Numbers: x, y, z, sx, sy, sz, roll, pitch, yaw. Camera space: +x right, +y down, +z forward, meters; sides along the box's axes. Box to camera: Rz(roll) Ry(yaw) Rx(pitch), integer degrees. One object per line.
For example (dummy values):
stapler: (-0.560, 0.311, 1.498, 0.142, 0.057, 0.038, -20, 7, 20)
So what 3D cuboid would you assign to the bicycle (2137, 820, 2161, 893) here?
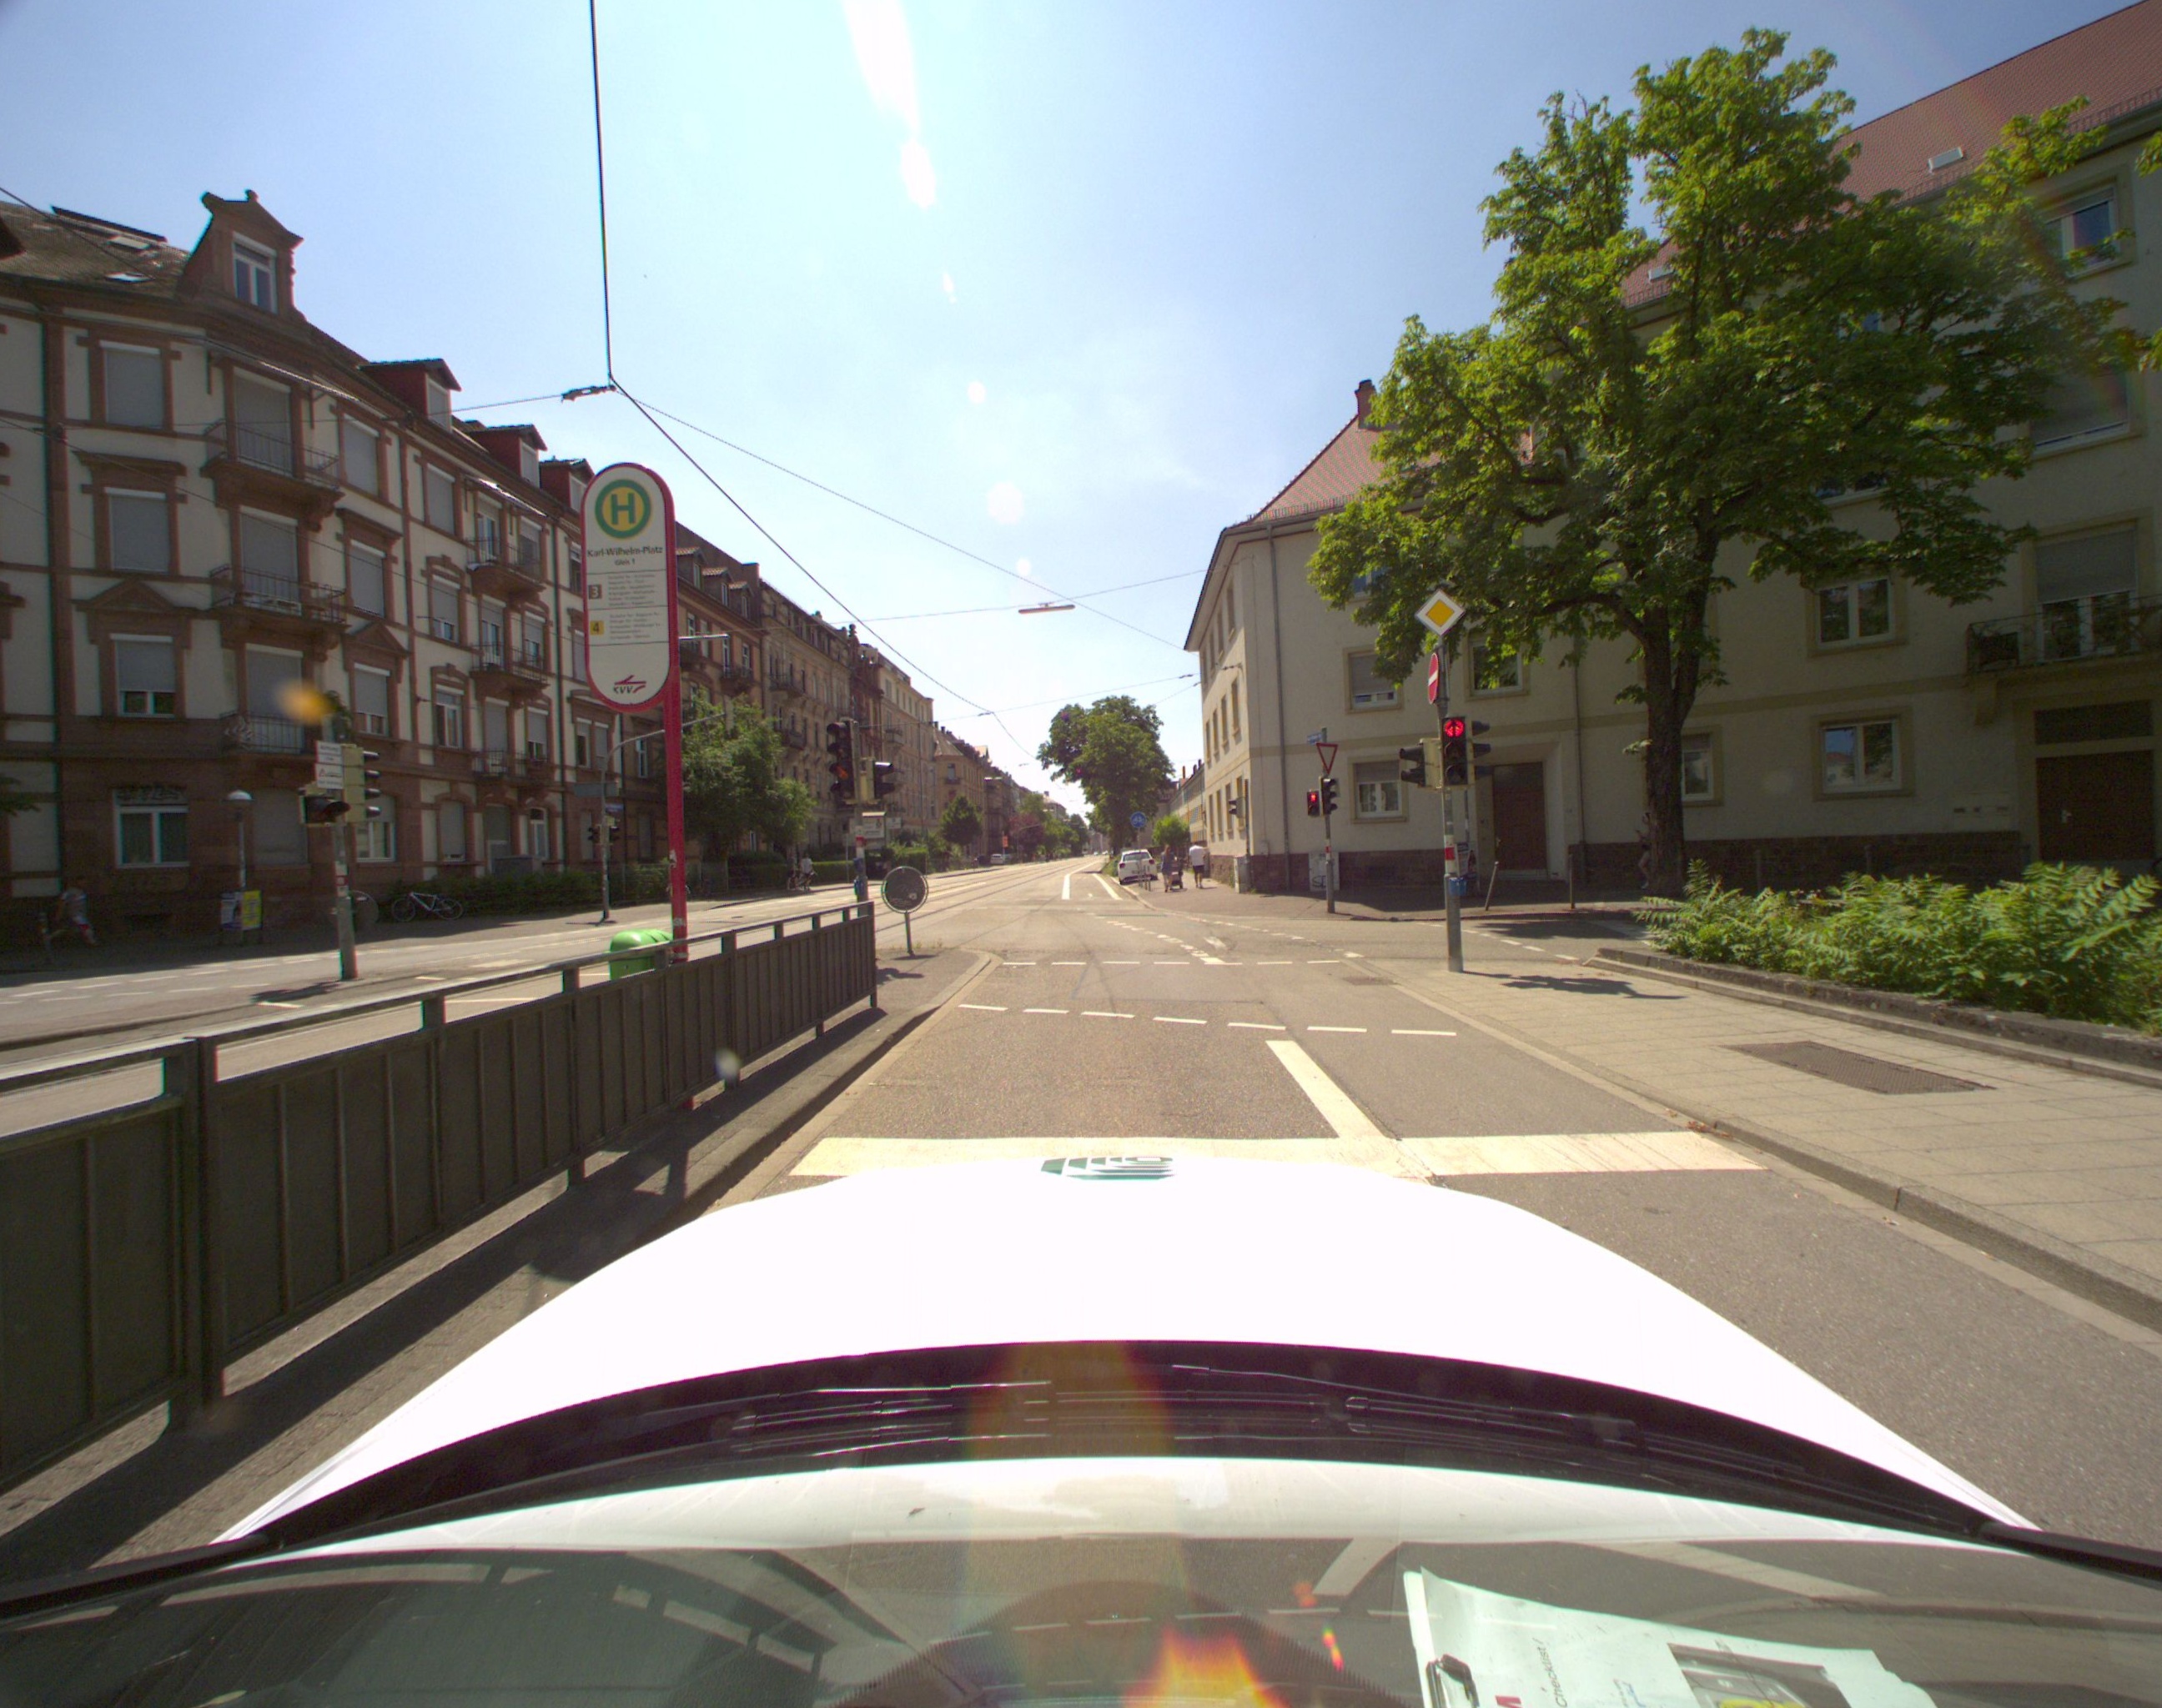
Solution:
bicycle: (17.012, 0.024, 12.084, 0.527, 1.104, 1.589, -2, 0, -34)

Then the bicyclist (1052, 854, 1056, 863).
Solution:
bicyclist: (-5.349, 0.966, 163.114, 0.724, 1.818, 1.080, 0, -1, 3)

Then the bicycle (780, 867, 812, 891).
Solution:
bicycle: (-14.389, 1.260, 41.258, 0.936, 1.136, 2.767, 0, -1, -7)

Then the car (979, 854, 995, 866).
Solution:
car: (-14.324, 0.904, 124.469, 1.912, 1.715, 4.001, 0, -1, 2)

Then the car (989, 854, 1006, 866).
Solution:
car: (-11.872, 0.818, 116.067, 1.912, 1.715, 4.001, 0, -1, 2)

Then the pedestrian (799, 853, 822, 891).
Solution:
pedestrian: (-13.159, 0.863, 39.624, 0.813, 1.822, 0.874, 0, 1, 1)

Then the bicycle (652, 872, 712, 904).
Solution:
bicycle: (-15.666, 1.305, 32.084, 0.934, 1.136, 2.774, 0, -1, 1)

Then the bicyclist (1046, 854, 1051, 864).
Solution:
bicyclist: (-5.654, 0.836, 141.651, 0.724, 1.768, 1.080, 0, -1, 3)

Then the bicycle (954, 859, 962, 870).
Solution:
bicycle: (-12.148, 1.036, 80.501, 0.677, 1.064, 1.912, -2, 0, -9)

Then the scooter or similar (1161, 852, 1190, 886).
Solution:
scooter or similar: (3.334, 0.518, 28.787, 0.551, 1.155, 1.213, -1, -1, 31)

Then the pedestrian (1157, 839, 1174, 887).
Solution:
pedestrian: (2.900, 0.306, 27.938, 0.554, 1.645, 0.678, 0, -1, 7)

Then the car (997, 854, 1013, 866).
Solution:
car: (-11.651, 0.883, 124.331, 1.912, 1.715, 4.001, 0, -1, 2)

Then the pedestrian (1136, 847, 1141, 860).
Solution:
pedestrian: (6.981, -0.041, 99.507, 0.519, 1.562, 0.573, -2, 0, 1)

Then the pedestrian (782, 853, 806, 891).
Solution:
pedestrian: (-13.930, 0.875, 39.568, 0.813, 1.822, 0.874, 0, 1, 1)

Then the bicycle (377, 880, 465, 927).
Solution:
bicycle: (-19.552, 1.443, 24.162, 0.557, 1.294, 1.975, -1, -1, 43)

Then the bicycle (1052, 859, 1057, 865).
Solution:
bicycle: (-5.361, 1.635, 163.058, 0.724, 1.123, 2.087, 0, -1, 4)

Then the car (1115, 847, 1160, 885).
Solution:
car: (2.529, 0.535, 37.412, 1.808, 1.516, 4.001, -4, -1, 2)

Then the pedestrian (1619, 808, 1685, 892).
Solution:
pedestrian: (12.464, -0.091, 17.796, 1.043, 1.690, 0.658, -5, 3, 35)

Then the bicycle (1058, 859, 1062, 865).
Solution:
bicycle: (-4.193, 1.595, 163.088, 0.724, 1.123, 2.087, 0, -1, 4)

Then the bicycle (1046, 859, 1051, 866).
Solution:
bicycle: (-5.641, 1.461, 141.707, 0.724, 1.123, 2.087, 0, -1, 4)

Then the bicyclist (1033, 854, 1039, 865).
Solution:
bicyclist: (-6.852, 0.832, 124.722, 0.724, 1.629, 1.080, 0, -1, 3)

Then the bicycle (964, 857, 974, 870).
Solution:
bicycle: (-11.703, 0.963, 85.138, 0.675, 1.278, 1.918, -2, 0, -1)

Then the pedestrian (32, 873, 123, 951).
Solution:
pedestrian: (-22.842, 1.294, 18.563, 1.065, 1.689, 0.715, -2, 0, -31)

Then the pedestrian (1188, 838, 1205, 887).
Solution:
pedestrian: (3.982, 0.289, 28.041, 0.554, 1.645, 0.678, 0, -1, 7)

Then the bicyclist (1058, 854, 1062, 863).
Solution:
bicyclist: (-4.203, 0.948, 163.010, 0.724, 1.818, 1.080, 0, -1, 3)
